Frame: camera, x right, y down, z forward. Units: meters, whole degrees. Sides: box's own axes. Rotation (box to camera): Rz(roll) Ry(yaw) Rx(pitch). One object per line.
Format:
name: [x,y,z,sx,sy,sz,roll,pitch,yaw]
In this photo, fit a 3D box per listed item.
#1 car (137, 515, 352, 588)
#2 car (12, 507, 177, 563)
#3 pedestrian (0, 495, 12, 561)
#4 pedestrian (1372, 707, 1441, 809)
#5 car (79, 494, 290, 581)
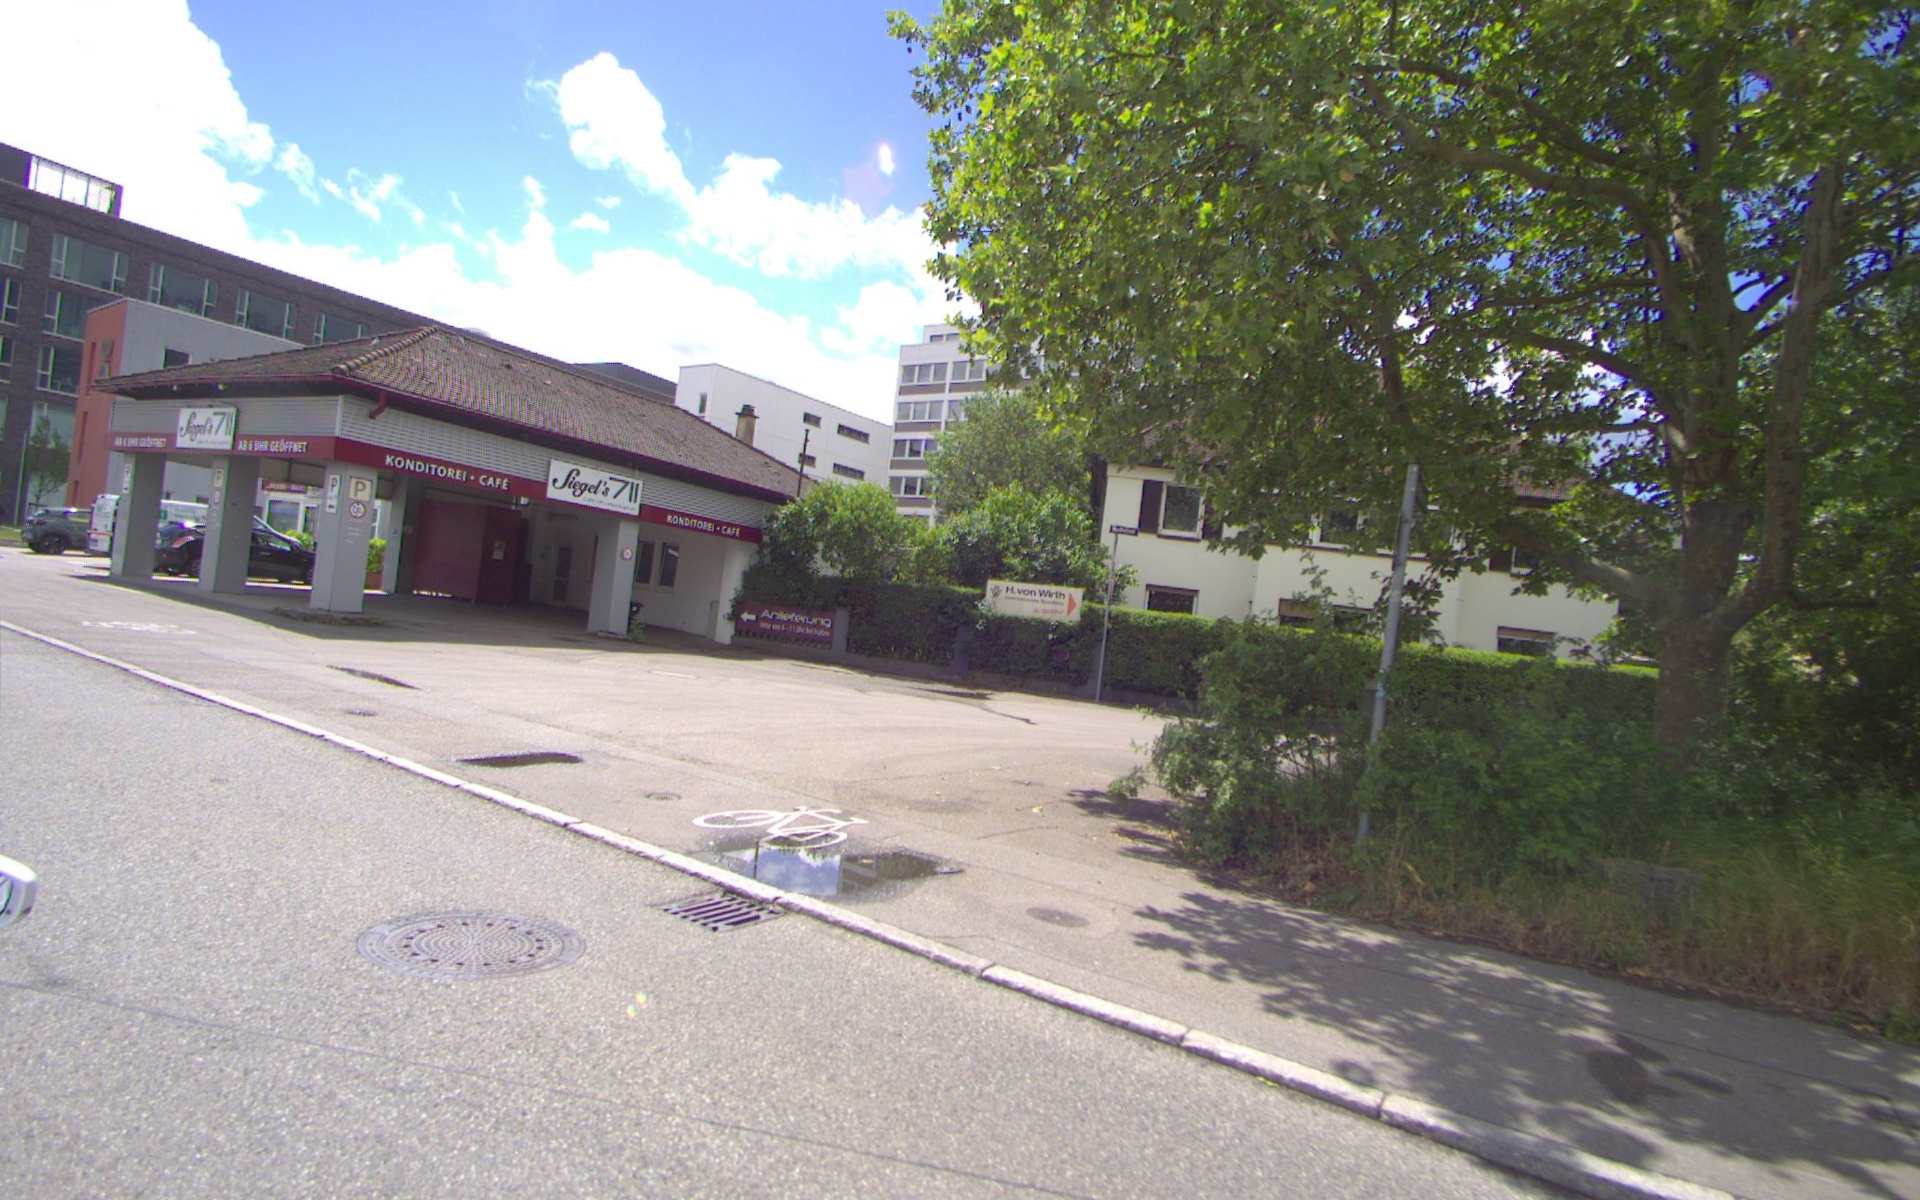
car: [-19.112,-1.266,27.072,1.816,1.532,4.302,5,0,32]
car: [-28.282,-2.107,32.988,1.691,1.460,3.758,6,2,33]
pedestrian: [-25.326,-1.903,26.191,0.675,1.716,0.593,7,0,-33]
pedestrian: [6.054,2.134,13.637,0.564,1.262,0.511,7,2,-40]
car: [-21.826,-1.726,28.477,1.996,1.961,4.231,6,1,33]
